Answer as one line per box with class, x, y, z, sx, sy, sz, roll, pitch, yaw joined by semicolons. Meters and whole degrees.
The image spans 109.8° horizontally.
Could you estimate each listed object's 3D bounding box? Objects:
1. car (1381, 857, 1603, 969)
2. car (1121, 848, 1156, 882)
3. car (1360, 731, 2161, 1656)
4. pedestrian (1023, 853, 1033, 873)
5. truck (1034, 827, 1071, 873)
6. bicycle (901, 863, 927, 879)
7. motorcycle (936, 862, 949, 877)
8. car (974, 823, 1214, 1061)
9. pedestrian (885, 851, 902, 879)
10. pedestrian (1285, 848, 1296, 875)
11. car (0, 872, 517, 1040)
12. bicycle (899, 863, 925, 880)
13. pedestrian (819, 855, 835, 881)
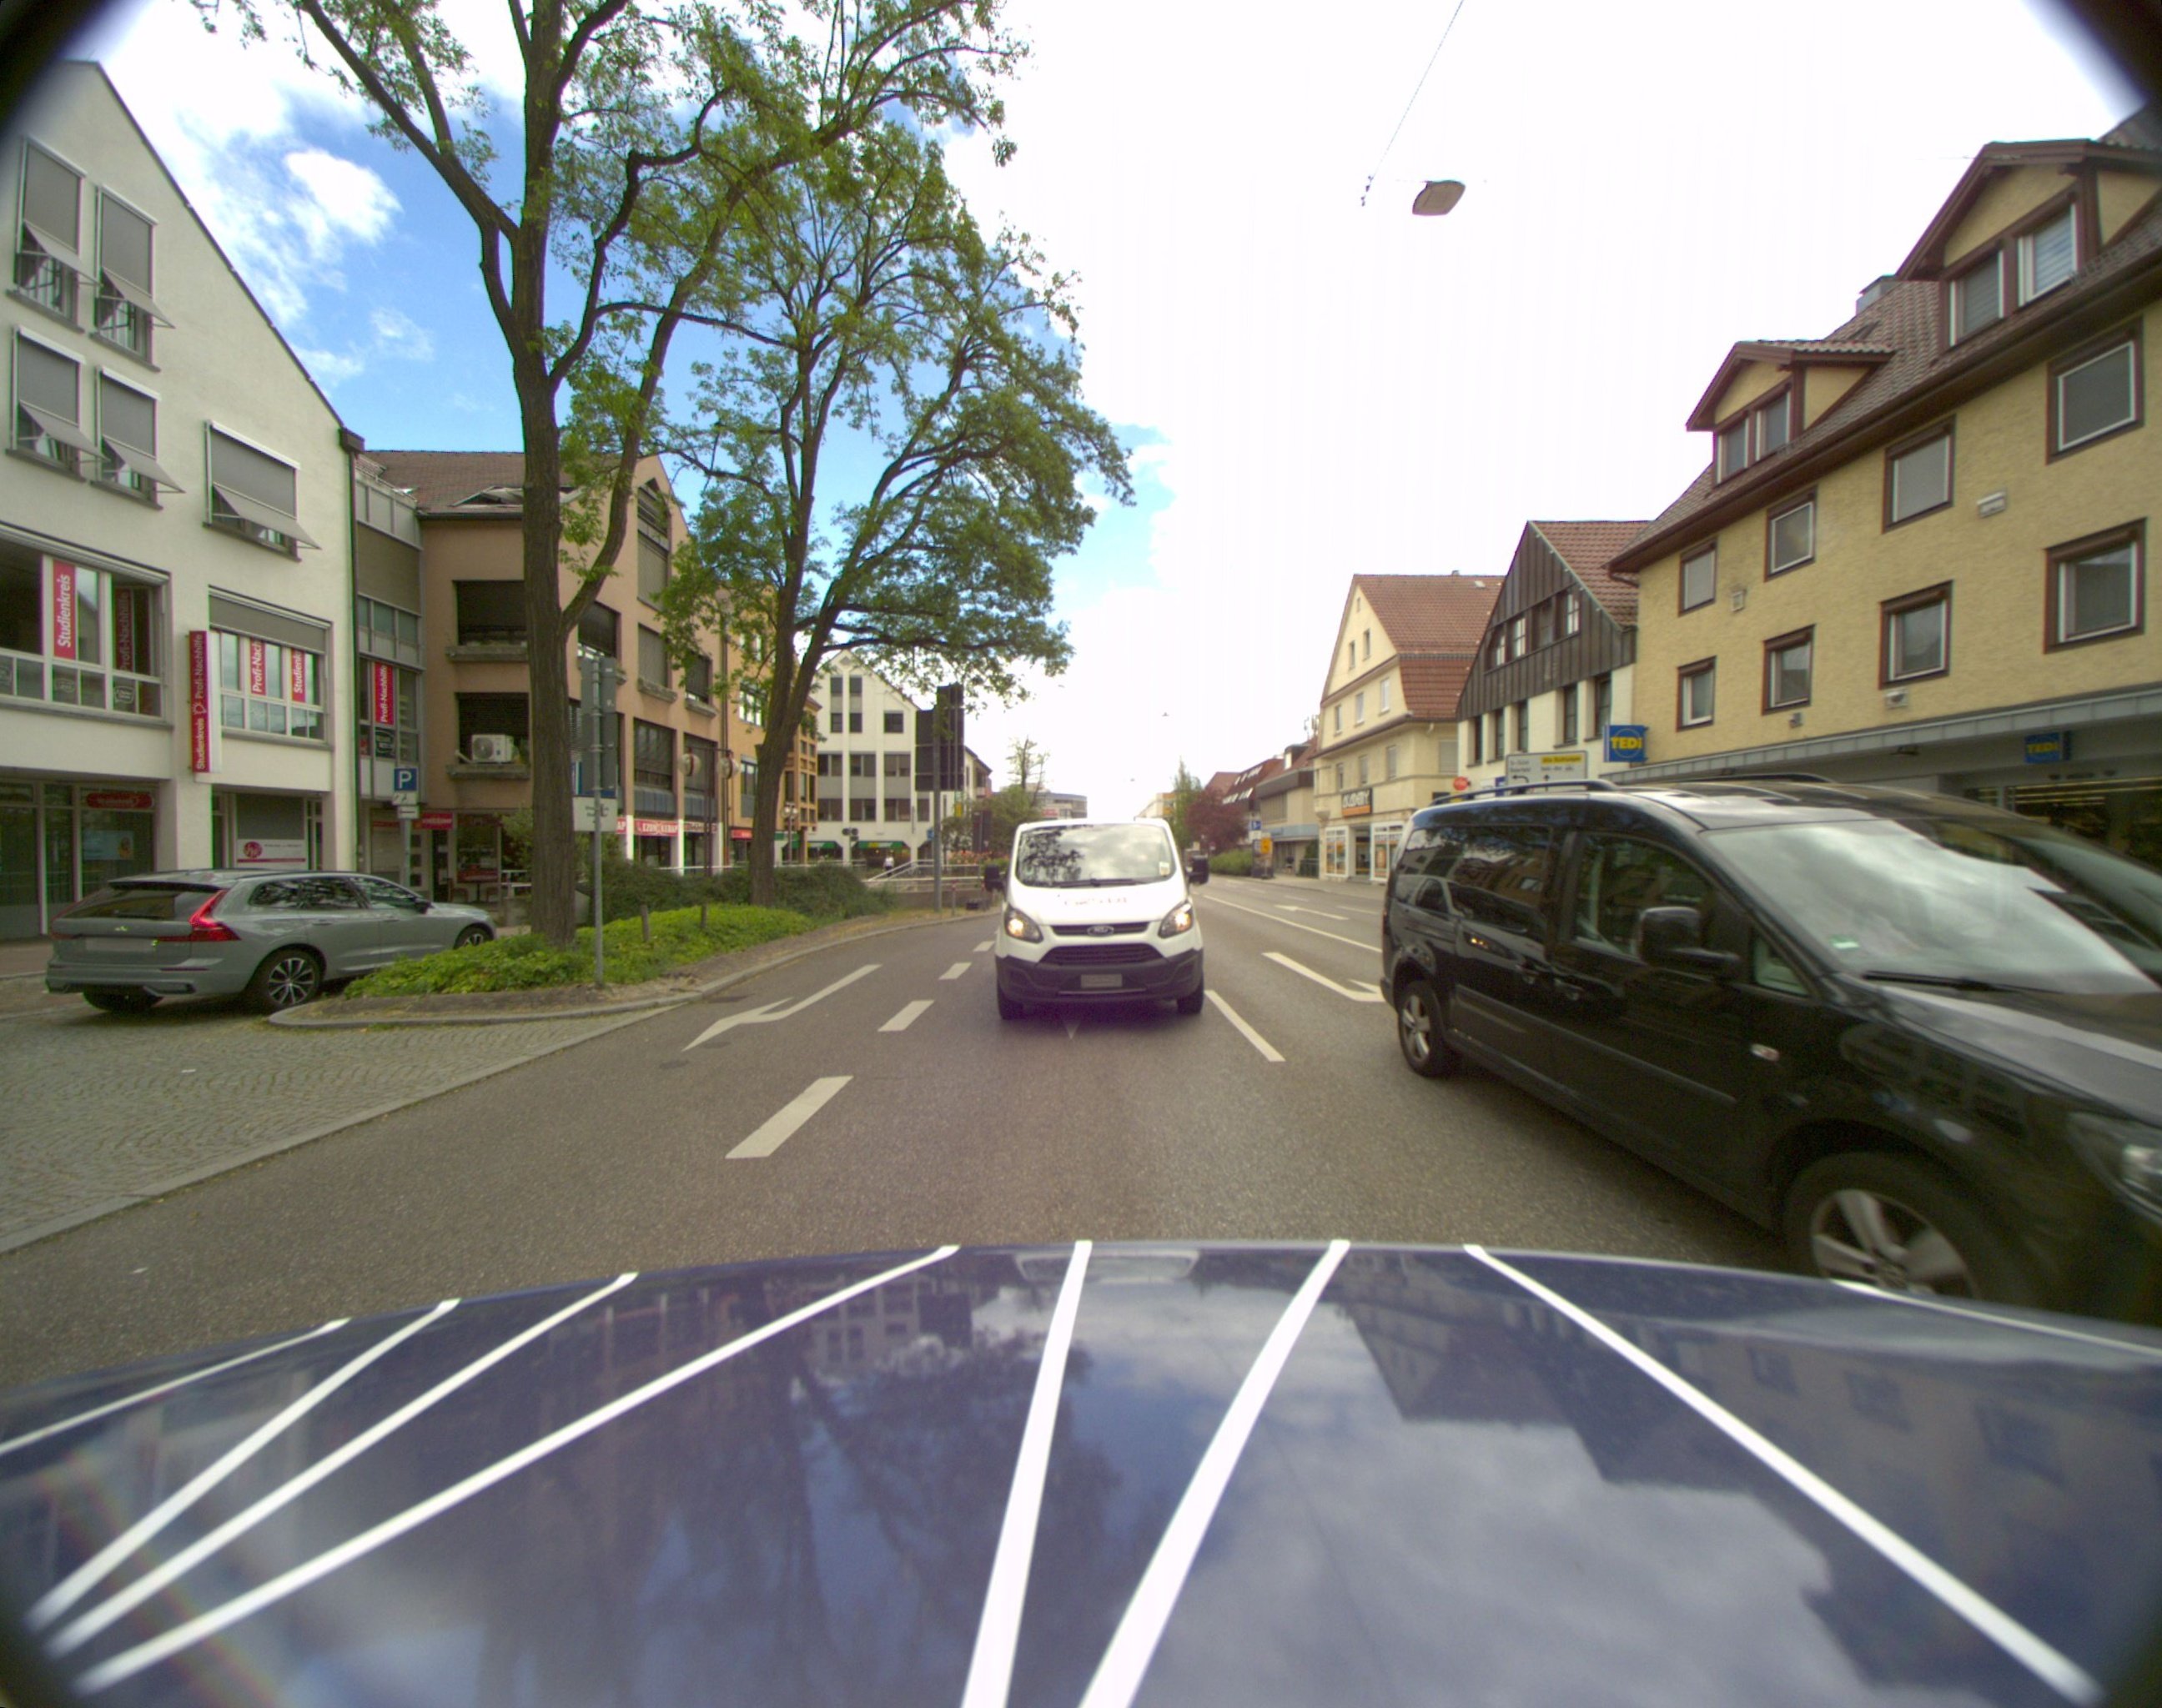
car;6.170;0.791;11.873;1.578;1.480;3.464;0;0;0
car;3.453;0.631;46.535;1.830;1.948;4.852;-1;0;1
car;2.992;0.650;3.353;1.749;1.844;4.633;-2;0;0
pedestrian;-4.144;0.677;59.444;0.653;1.568;0.684;-1;1;1
truck;-2.213;-0.341;61.899;2.446;3.464;8.347;-2;1;1
bicycle;-10.431;1.033;47.428;1.594;0.963;0.461;-1;1;-14
motorcycle;-9.634;1.069;52.917;0.464;1.062;1.995;0;0;1
car;0.123;0.719;8.840;1.964;1.948;5.164;-1;0;0
pedestrian;-12.498;0.748;50.661;0.871;1.812;0.785;-2;1;-3
pedestrian;14.980;0.549;54.404;0.551;1.878;0.592;-2;1;-3
car;-10.300;1.107;10.220;1.999;1.586;4.762;0;0;-2
bicycle;-10.408;1.067;46.784;1.594;0.996;0.414;-1;1;-13
pedestrian;-17.426;0.965;52.079;0.887;1.747;0.943;-1;1;-11
